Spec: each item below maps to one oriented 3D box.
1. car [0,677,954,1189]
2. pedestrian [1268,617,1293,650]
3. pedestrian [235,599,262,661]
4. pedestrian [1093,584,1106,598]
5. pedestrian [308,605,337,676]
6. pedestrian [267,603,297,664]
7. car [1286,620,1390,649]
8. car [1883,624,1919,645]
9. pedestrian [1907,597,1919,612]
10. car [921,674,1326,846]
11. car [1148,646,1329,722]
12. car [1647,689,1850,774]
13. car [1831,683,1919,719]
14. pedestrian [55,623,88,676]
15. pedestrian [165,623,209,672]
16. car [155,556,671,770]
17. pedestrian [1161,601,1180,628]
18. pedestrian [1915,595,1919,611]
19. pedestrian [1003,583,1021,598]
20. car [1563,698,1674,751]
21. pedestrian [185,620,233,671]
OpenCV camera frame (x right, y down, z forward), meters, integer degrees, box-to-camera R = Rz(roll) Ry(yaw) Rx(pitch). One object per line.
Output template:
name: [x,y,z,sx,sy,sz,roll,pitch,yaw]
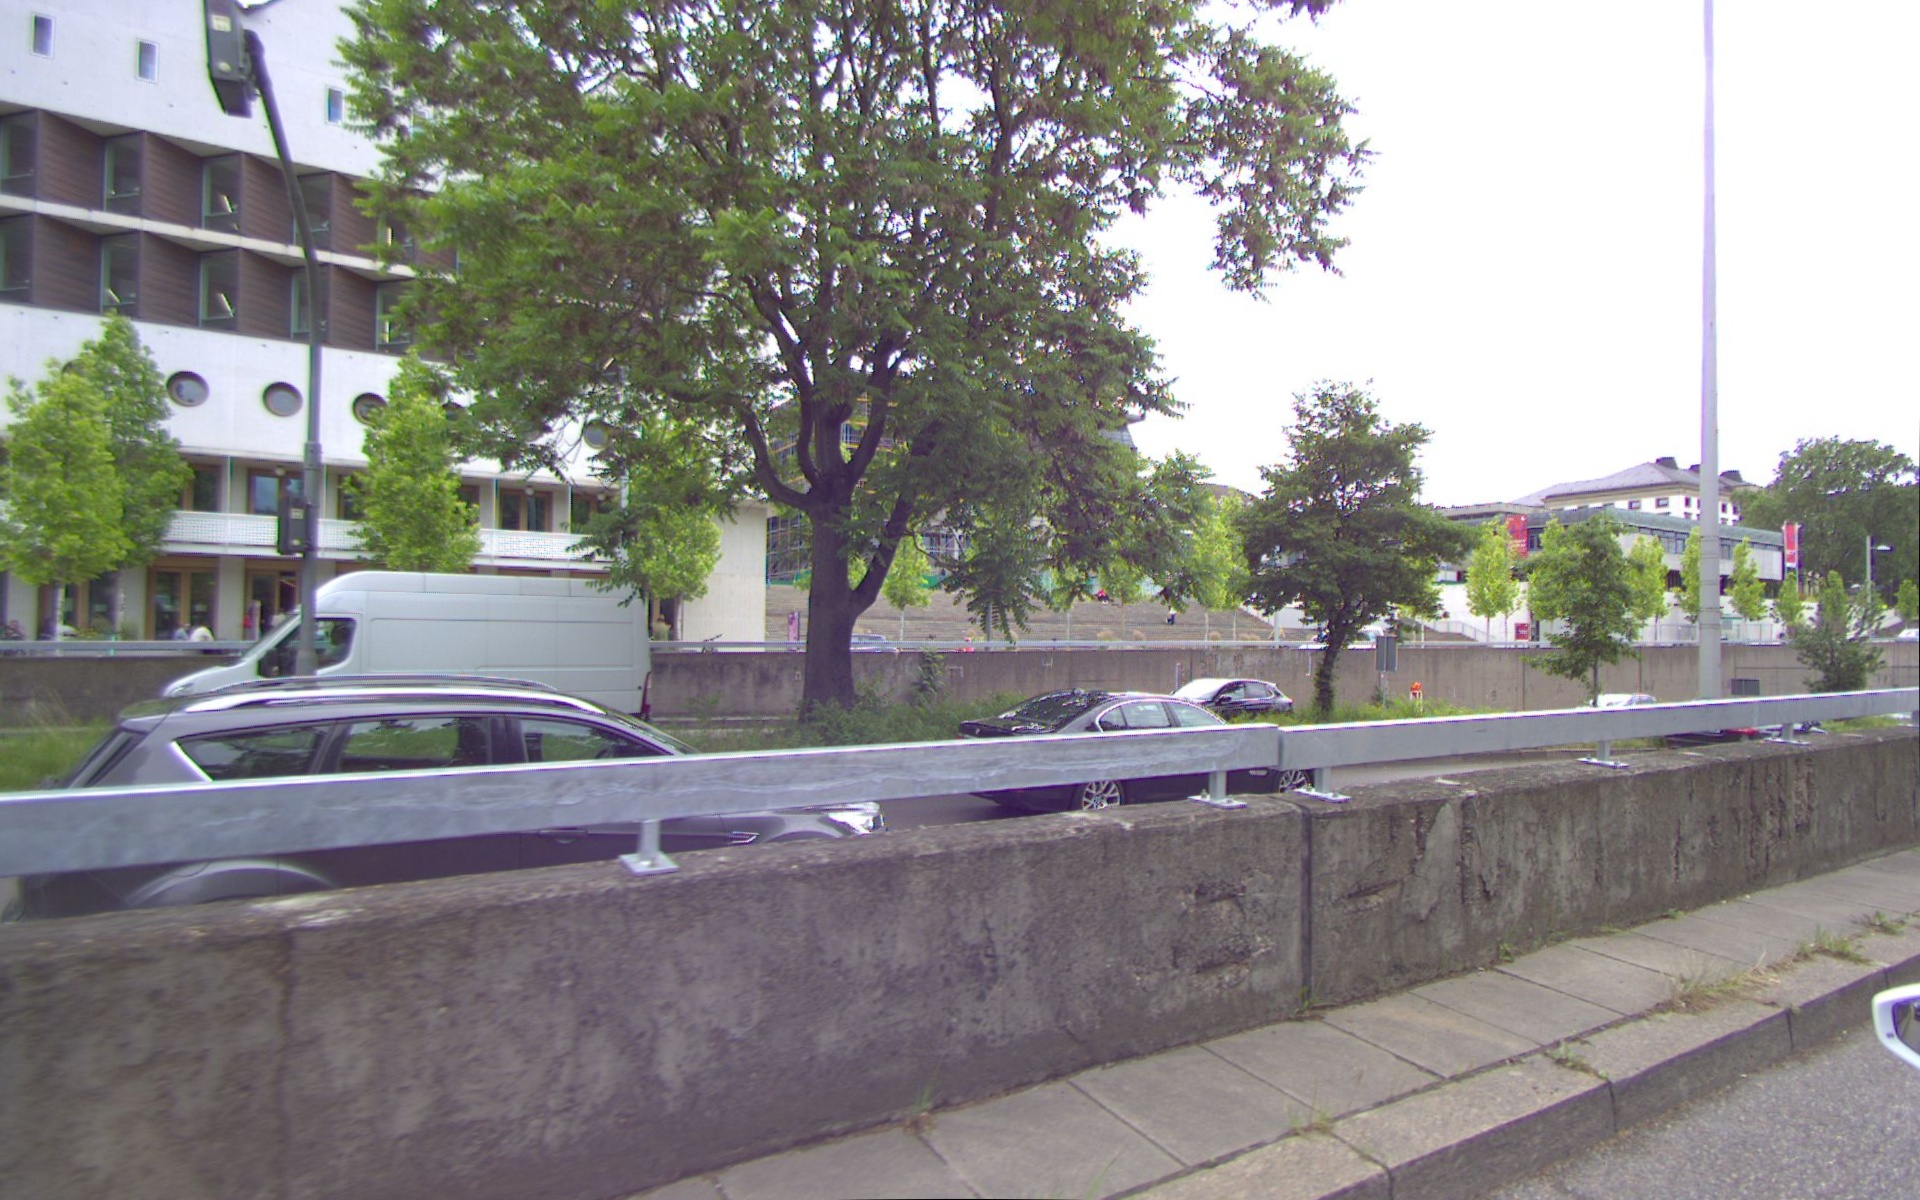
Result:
car: [-2.477,1.455,5.855,4.607,1.738,1.883,1,0,-32]
pedestrian: [16.425,1.707,51.472,0.993,1.662,0.731,1,-1,-30]
pedestrian: [-24.098,1.029,34.024,0.623,2.039,0.630,2,-6,-29]
pedestrian: [9.239,-0.588,66.654,0.649,0.883,0.533,2,1,-25]
pedestrian: [-18.650,1.184,29.411,0.623,2.040,0.629,2,1,-29]
pedestrian: [-23.692,1.191,35.102,0.730,2.037,0.708,2,-10,-30]
car: [16.859,1.531,44.766,4.754,1.133,1.799,2,1,-32]
car: [69.421,2.516,73.604,3.830,1.378,1.820,2,1,-35]
pedestrian: [110.774,0.524,116.751,0.629,1.752,0.694,2,1,-6]
car: [2.071,1.756,12.179,4.756,1.502,1.983,1,-1,-32]
car: [6.469,1.877,23.229,3.959,1.506,1.889,2,1,-34]
car: [17.442,2.818,22.169,4.804,1.479,1.804,2,0,-29]
car: [39.128,4.251,42.798,4.802,1.158,1.980,2,1,-36]
pedestrian: [-28.176,1.558,31.876,0.623,1.655,0.629,2,-1,-30]
pedestrian: [-24.625,1.496,32.010,0.622,1.543,0.912,1,-1,18]
car: [-7.526,0.885,14.512,5.987,2.558,2.314,3,0,-30]
pedestrian: [13.586,0.920,64.859,0.849,1.662,0.638,2,4,-30]
pedestrian: [104.639,0.374,109.291,0.629,1.752,0.694,2,1,-4]
pedestrian: [3.256,-0.590,63.126,0.849,0.895,0.638,2,4,-30]
car: [24.765,4.608,37.708,4.533,1.559,1.866,2,1,-34]
pedestrian: [-23.720,1.457,31.732,0.622,1.542,0.913,0,-5,18]
